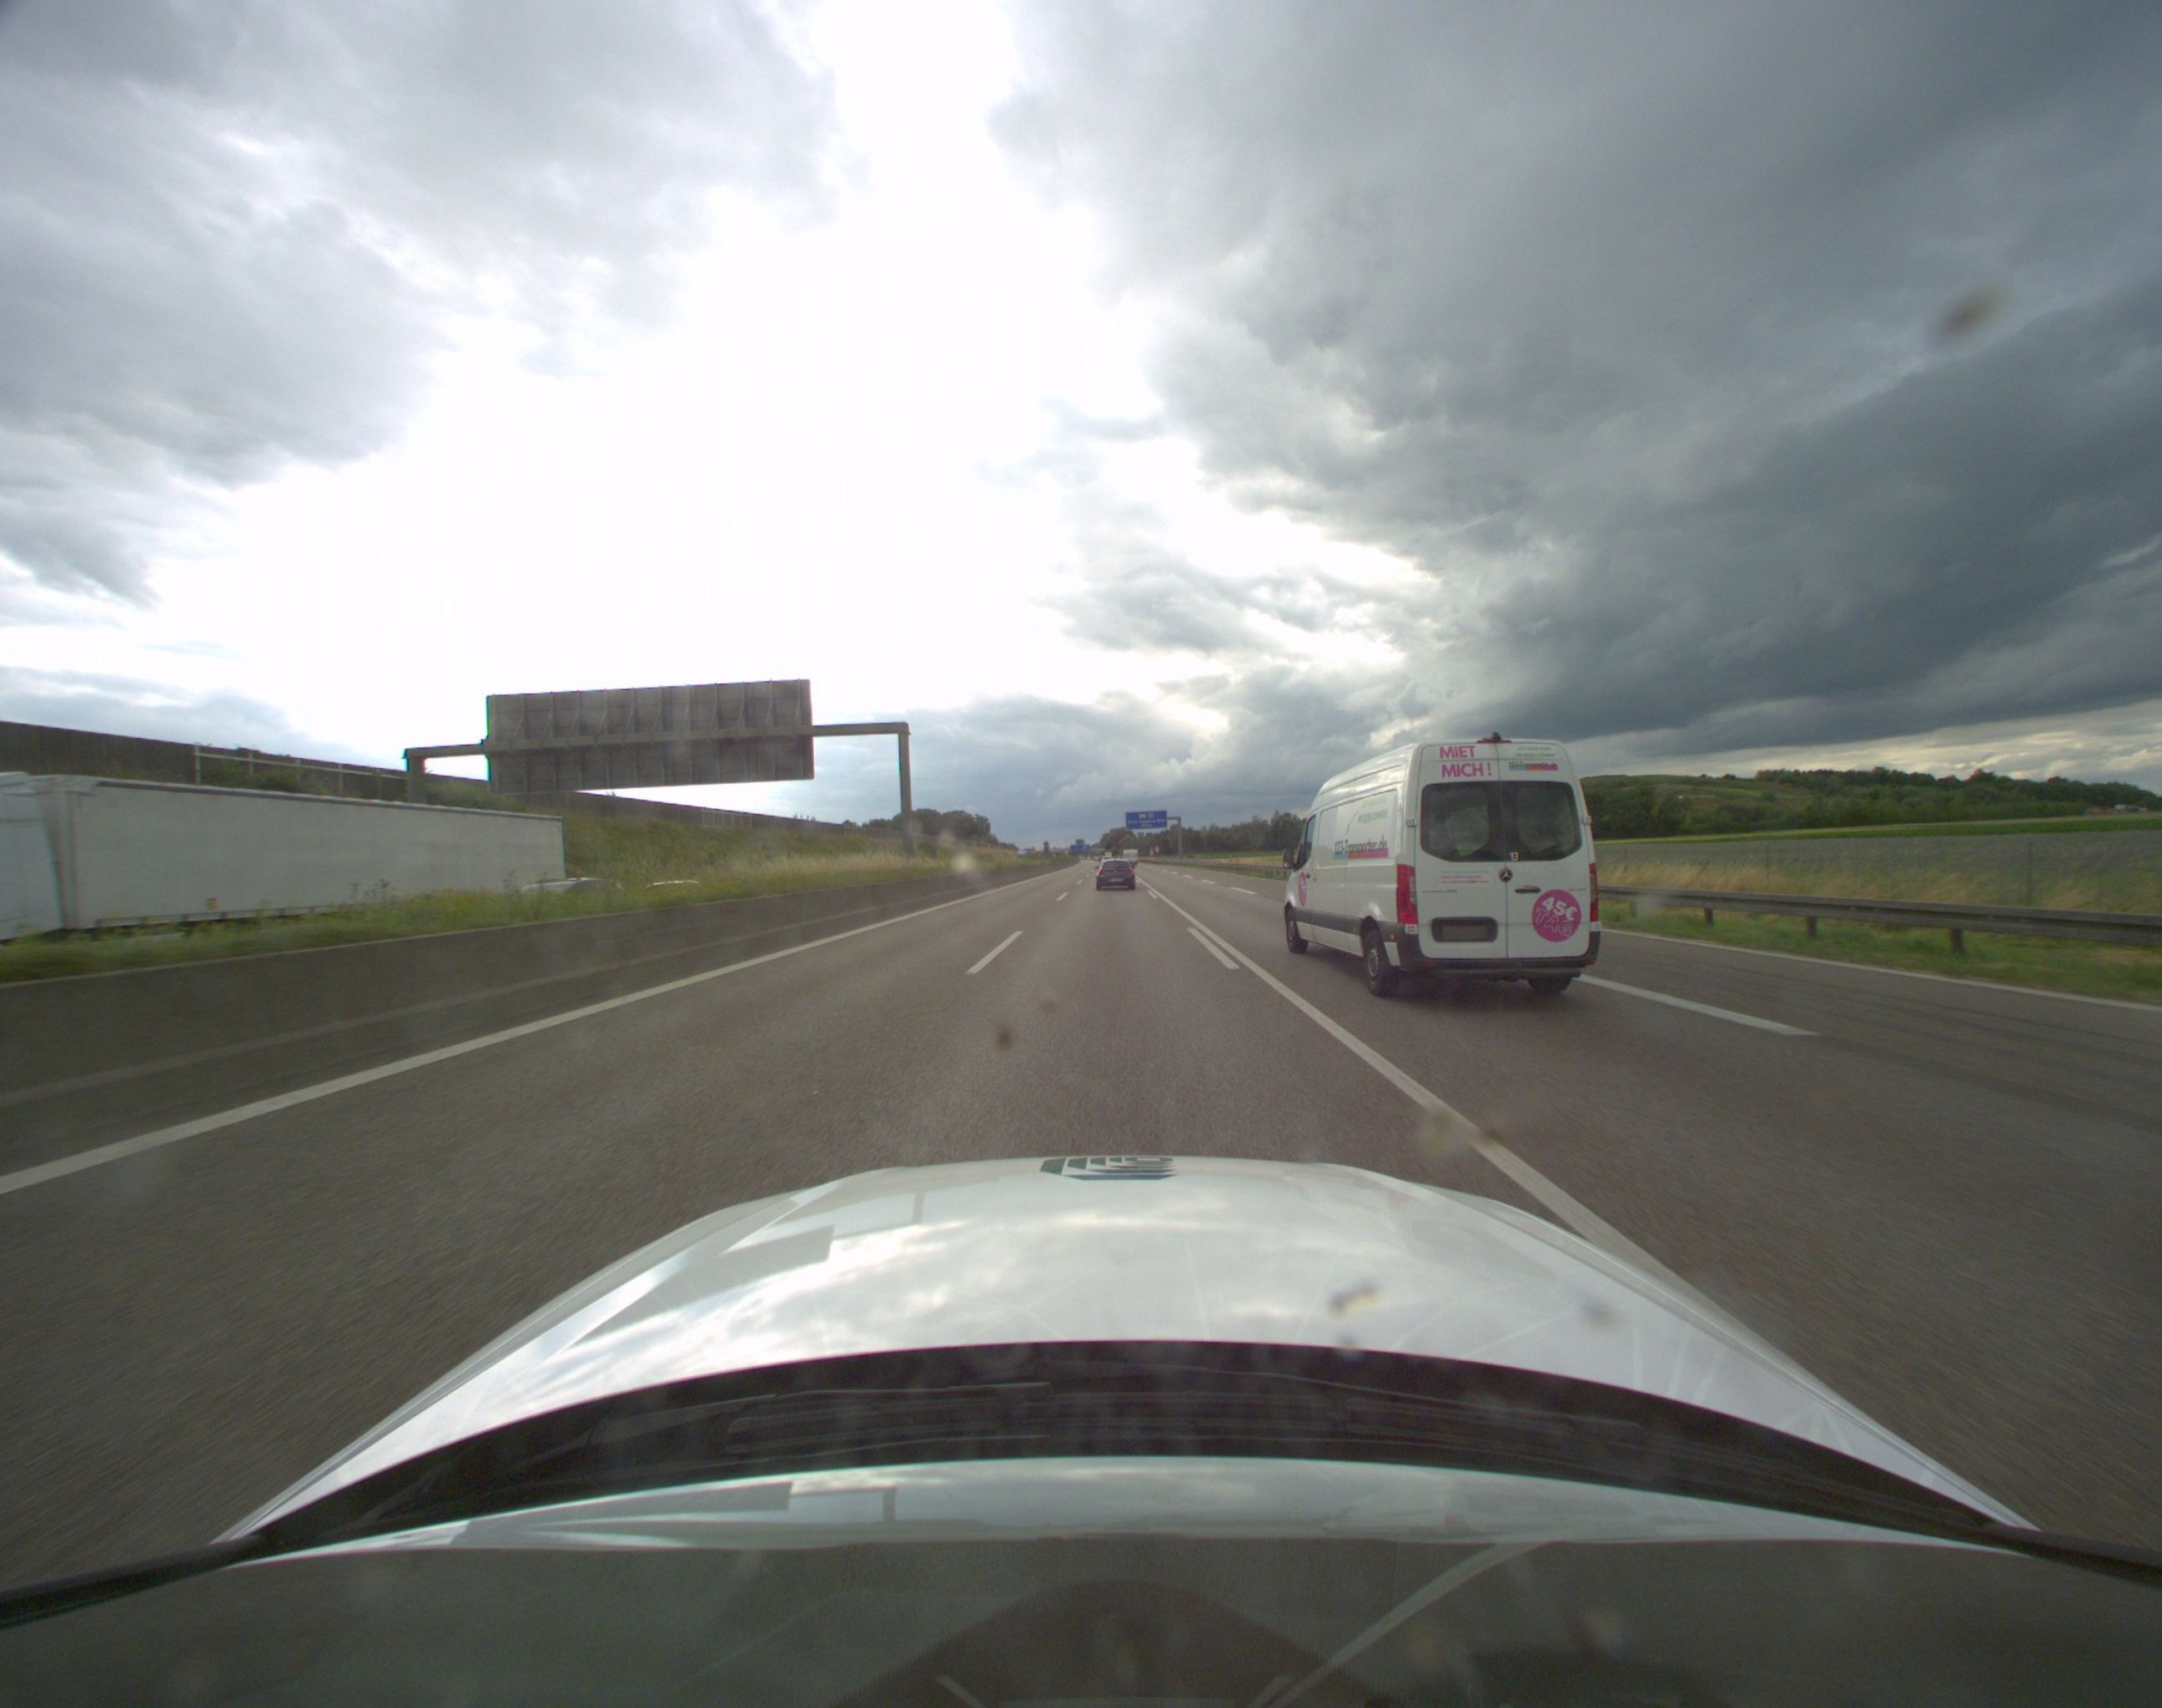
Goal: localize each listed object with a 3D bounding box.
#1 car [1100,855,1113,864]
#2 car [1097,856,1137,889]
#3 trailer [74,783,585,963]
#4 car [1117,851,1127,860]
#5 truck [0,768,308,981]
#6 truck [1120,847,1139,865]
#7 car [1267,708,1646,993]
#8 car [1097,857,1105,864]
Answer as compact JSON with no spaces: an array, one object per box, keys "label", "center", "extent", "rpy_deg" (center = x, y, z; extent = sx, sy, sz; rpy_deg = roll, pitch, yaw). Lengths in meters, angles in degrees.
[{"label":"car","center":[4.109,0.853,130.750],"extent":[1.986,1.298,4.001],"rpy_deg":[-3,0,1]},{"label":"car","center":[1.675,0.828,37.800],"extent":[1.736,1.389,4.002],"rpy_deg":[-1,0,2]},{"label":"trailer","center":[-19.625,0.414,23.337],"extent":[2.766,3.677,12.270],"rpy_deg":[-3,0,2]},{"label":"car","center":[9.273,0.370,184.703],"extent":[1.986,2.013,4.001],"rpy_deg":[-3,0,1]},{"label":"truck","center":[-19.913,0.409,15.613],"extent":[2.716,3.677,7.493],"rpy_deg":[-3,0,2]},{"label":"truck","center":[8.078,0.306,136.663],"extent":[2.700,2.964,12.452],"rpy_deg":[0,0,2]},{"label":"car","center":[4.161,-0.034,10.612],"extent":[2.212,2.568,6.259],"rpy_deg":[-1,0,2]},{"label":"car","center":[5.469,1.744,224.456],"extent":[1.986,2.013,4.001],"rpy_deg":[-3,0,1]}]
